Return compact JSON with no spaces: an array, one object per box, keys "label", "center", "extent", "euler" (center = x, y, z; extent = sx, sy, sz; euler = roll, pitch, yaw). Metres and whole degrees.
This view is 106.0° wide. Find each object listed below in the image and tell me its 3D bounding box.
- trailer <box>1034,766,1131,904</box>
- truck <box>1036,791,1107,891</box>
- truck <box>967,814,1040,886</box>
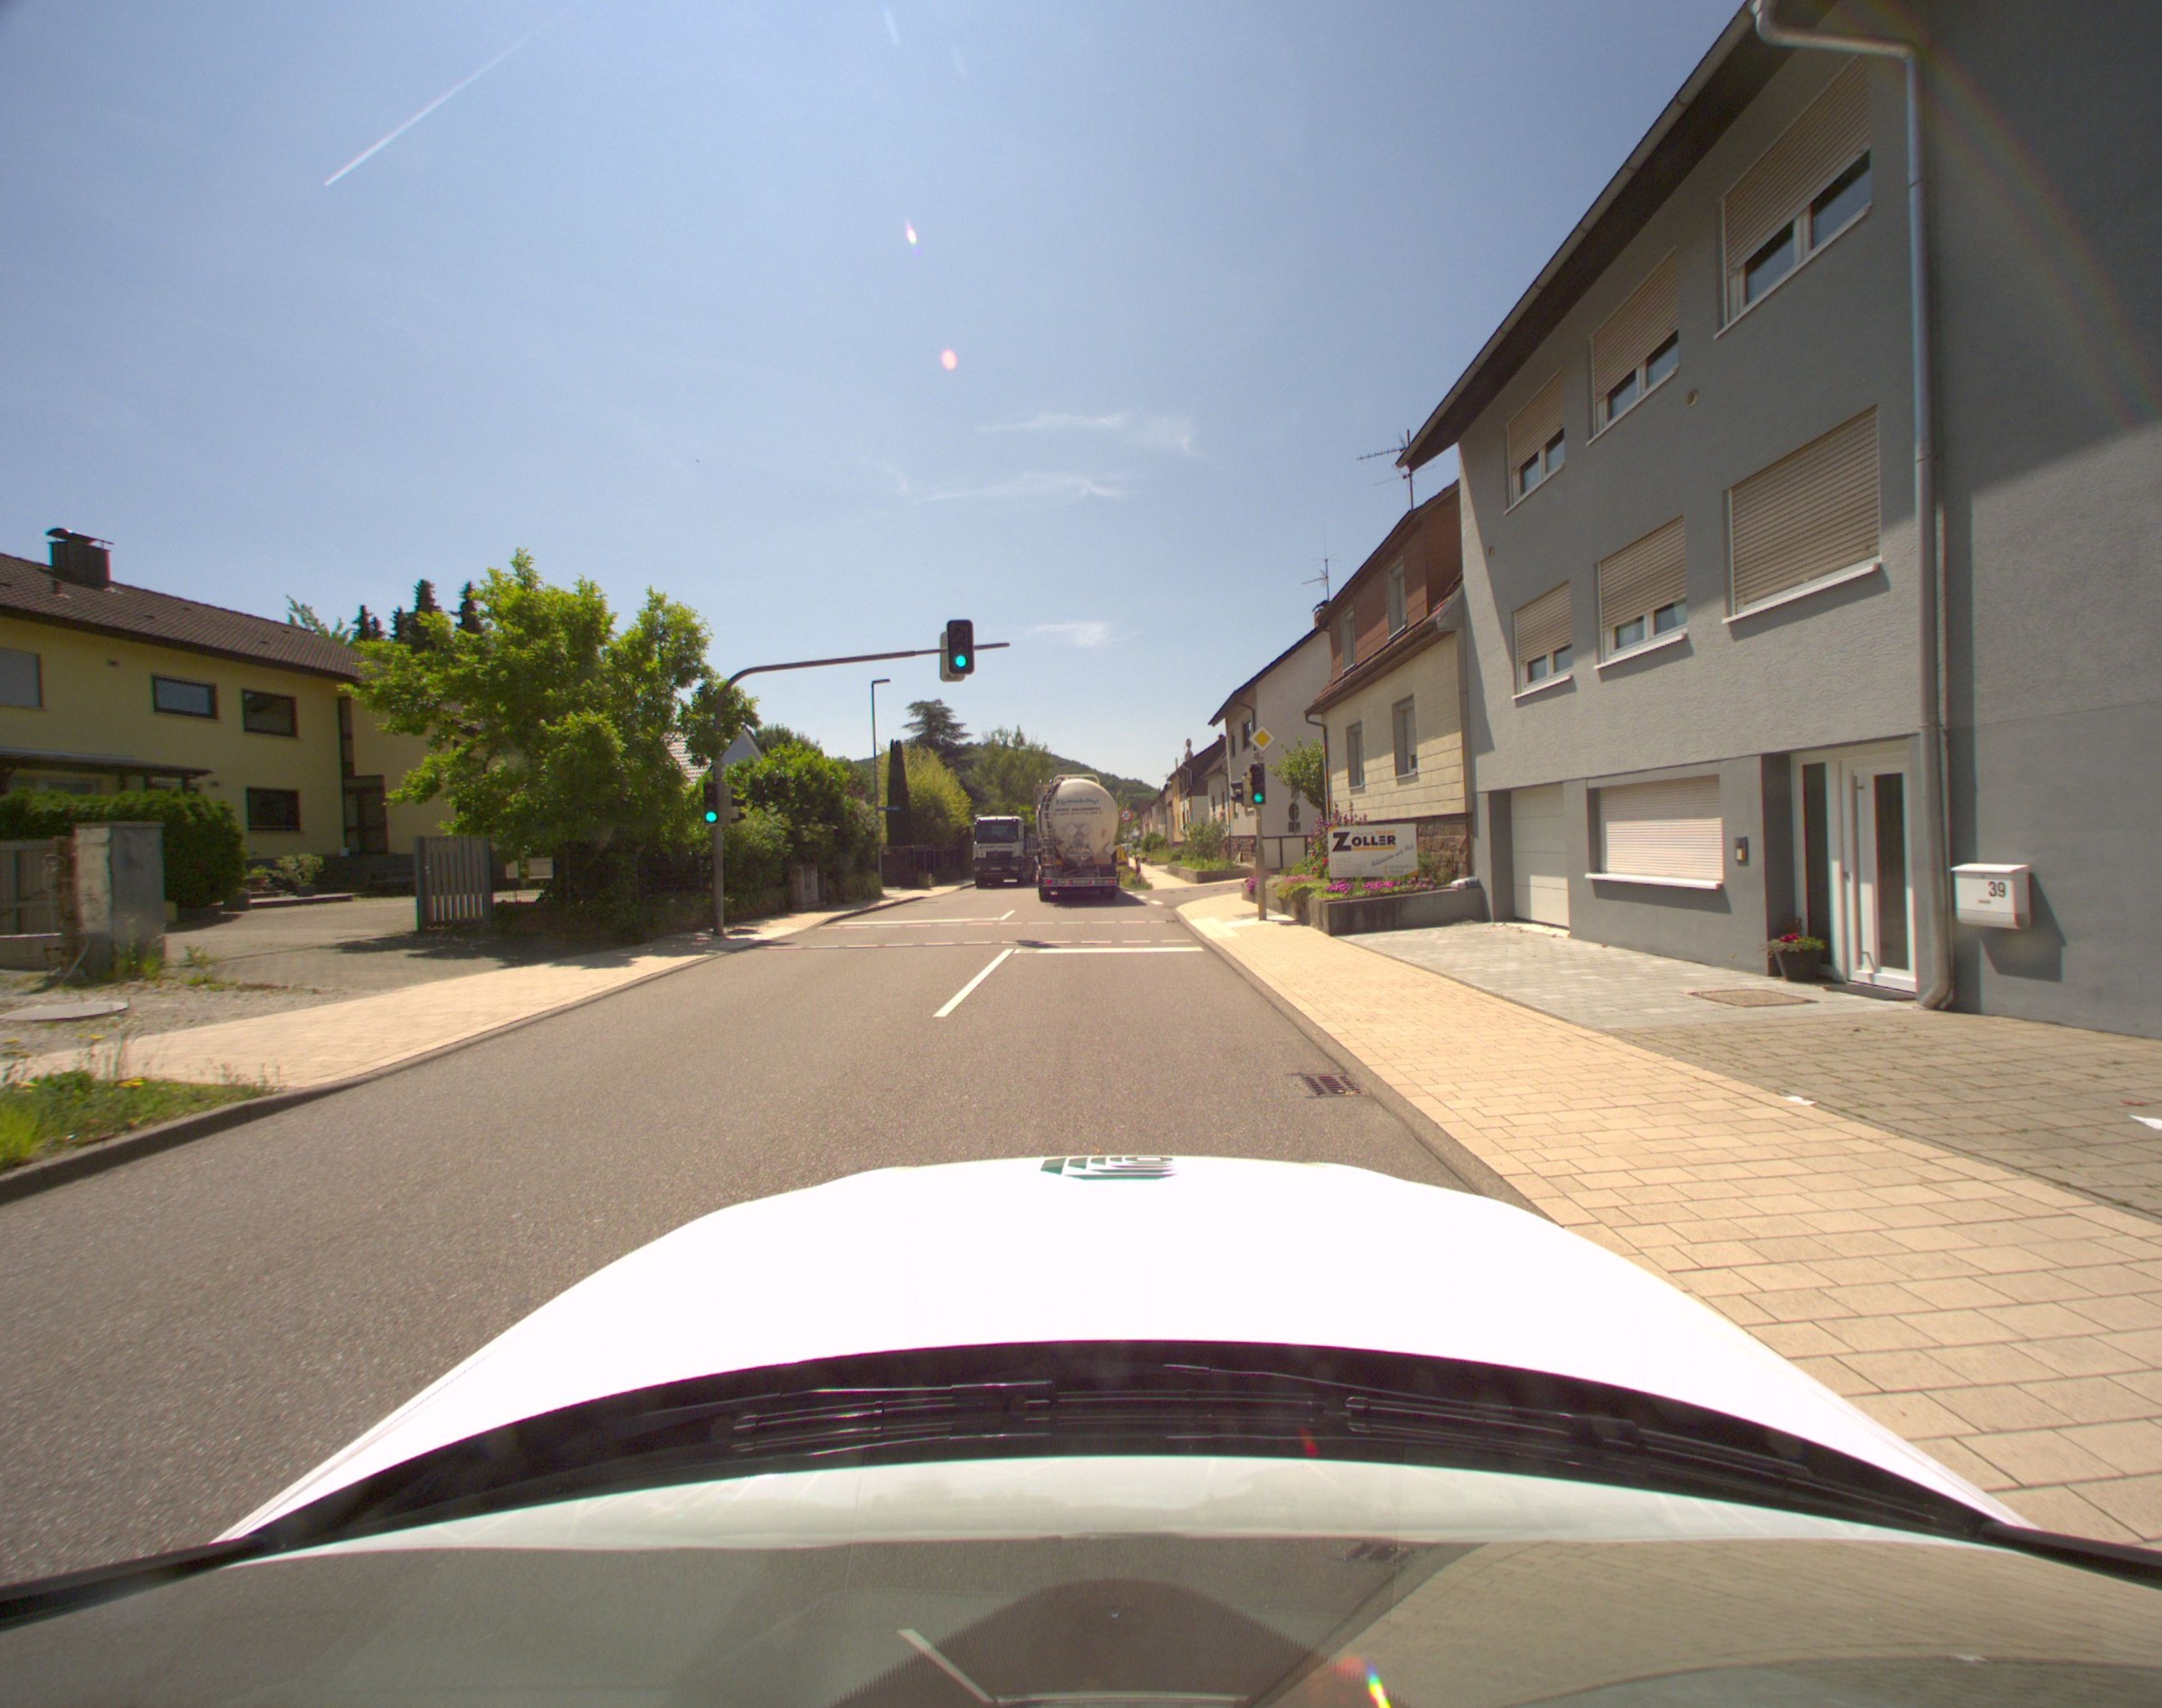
[{"label":"trailer","center":[-0.221,-0.558,28.977],"extent":[2.790,4.001,10.312],"euler":[-1,0,-3]},{"label":"truck","center":[-0.499,-0.509,35.280],"extent":[2.802,3.937,6.093],"euler":[0,0,-3]},{"label":"truck","center":[-3.848,-0.187,42.492],"extent":[2.718,3.371,8.638],"euler":[-1,0,2]}]
